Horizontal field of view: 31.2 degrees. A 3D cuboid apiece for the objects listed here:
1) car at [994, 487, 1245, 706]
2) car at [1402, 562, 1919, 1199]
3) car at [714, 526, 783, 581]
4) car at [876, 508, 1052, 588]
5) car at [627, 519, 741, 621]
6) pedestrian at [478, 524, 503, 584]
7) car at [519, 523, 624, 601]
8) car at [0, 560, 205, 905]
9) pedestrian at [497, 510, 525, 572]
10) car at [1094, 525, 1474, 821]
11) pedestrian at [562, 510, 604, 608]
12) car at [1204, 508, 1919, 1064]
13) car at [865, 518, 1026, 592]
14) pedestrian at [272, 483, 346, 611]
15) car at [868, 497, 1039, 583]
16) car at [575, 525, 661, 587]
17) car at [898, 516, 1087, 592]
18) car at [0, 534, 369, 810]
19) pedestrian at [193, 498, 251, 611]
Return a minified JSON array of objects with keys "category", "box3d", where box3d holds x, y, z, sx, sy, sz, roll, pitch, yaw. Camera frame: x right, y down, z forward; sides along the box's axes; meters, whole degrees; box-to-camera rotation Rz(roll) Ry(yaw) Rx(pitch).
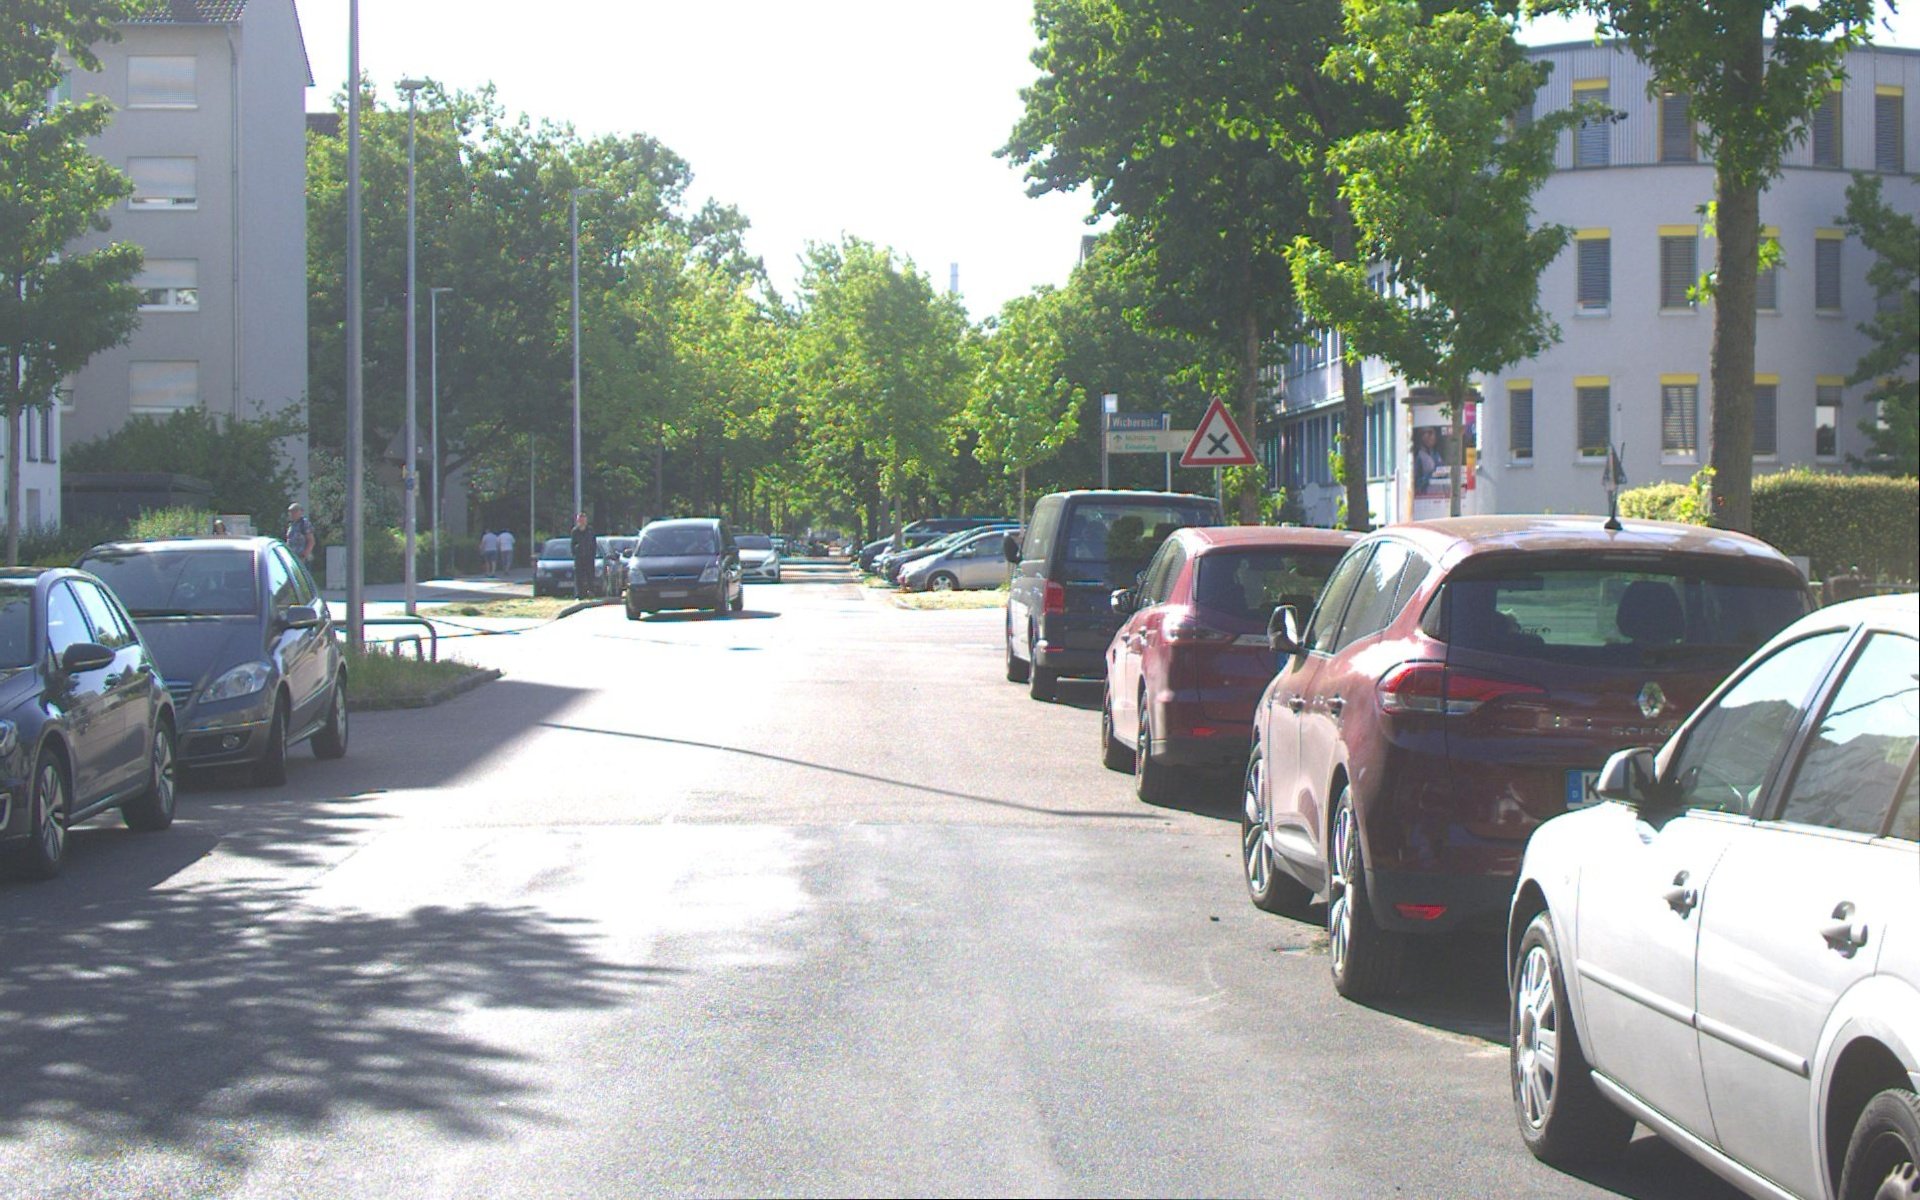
[{"category":"car","box3d":[1.464,-0.086,33.473,1.970,1.942,4.986,-1,1,-2]},{"category":"car","box3d":[2.294,0.705,6.970,1.897,1.469,4.700,2,1,-3]},{"category":"car","box3d":[-6.210,-1.392,101.308,1.895,1.555,4.001,-1,1,-2]},{"category":"car","box3d":[0.082,-1.243,81.008,3.986,1.799,1.890,-1,1,-4]},{"category":"car","box3d":[-4.566,-0.527,57.310,1.783,1.603,4.001,-1,1,-3]},{"category":"pedestrian","box3d":[-14.890,-1.466,109.009,0.762,1.894,0.819,-1,1,-8]},{"category":"car","box3d":[-8.681,-0.872,77.116,1.993,1.665,4.001,-1,1,-2]},{"category":"car","box3d":[-5.151,0.605,16.993,1.993,1.448,4.263,-3,1,-2]},{"category":"pedestrian","box3d":[-14.723,-1.932,112.622,0.859,2.007,0.981,-1,1,-8]},{"category":"car","box3d":[1.890,0.364,21.258,1.834,1.594,4.159,1,1,-1]},{"category":"pedestrian","box3d":[-7.348,-0.808,67.020,0.715,1.894,0.837,-1,1,-11]},{"category":"car","box3d":[2.129,0.533,12.951,1.907,1.693,4.314,2,1,-2]},{"category":"car","box3d":[-0.389,-1.167,88.329,3.986,1.824,2.000,-1,1,-4]},{"category":"pedestrian","box3d":[-10.361,-0.850,54.746,0.859,2.007,0.981,-1,1,7]},{"category":"car","box3d":[-0.181,-1.472,83.826,3.986,2.007,2.000,-1,1,-4]},{"category":"car","box3d":[-9.160,-1.202,92.396,1.993,1.579,4.001,-1,1,-2]},{"category":"car","box3d":[0.702,-1.025,75.805,3.986,1.581,1.727,-1,1,-5]},{"category":"car","box3d":[-5.196,0.401,23.063,1.839,1.589,4.263,-3,1,-2]},{"category":"pedestrian","box3d":[-13.299,-0.833,61.965,0.859,2.007,0.981,-1,1,-4]}]
